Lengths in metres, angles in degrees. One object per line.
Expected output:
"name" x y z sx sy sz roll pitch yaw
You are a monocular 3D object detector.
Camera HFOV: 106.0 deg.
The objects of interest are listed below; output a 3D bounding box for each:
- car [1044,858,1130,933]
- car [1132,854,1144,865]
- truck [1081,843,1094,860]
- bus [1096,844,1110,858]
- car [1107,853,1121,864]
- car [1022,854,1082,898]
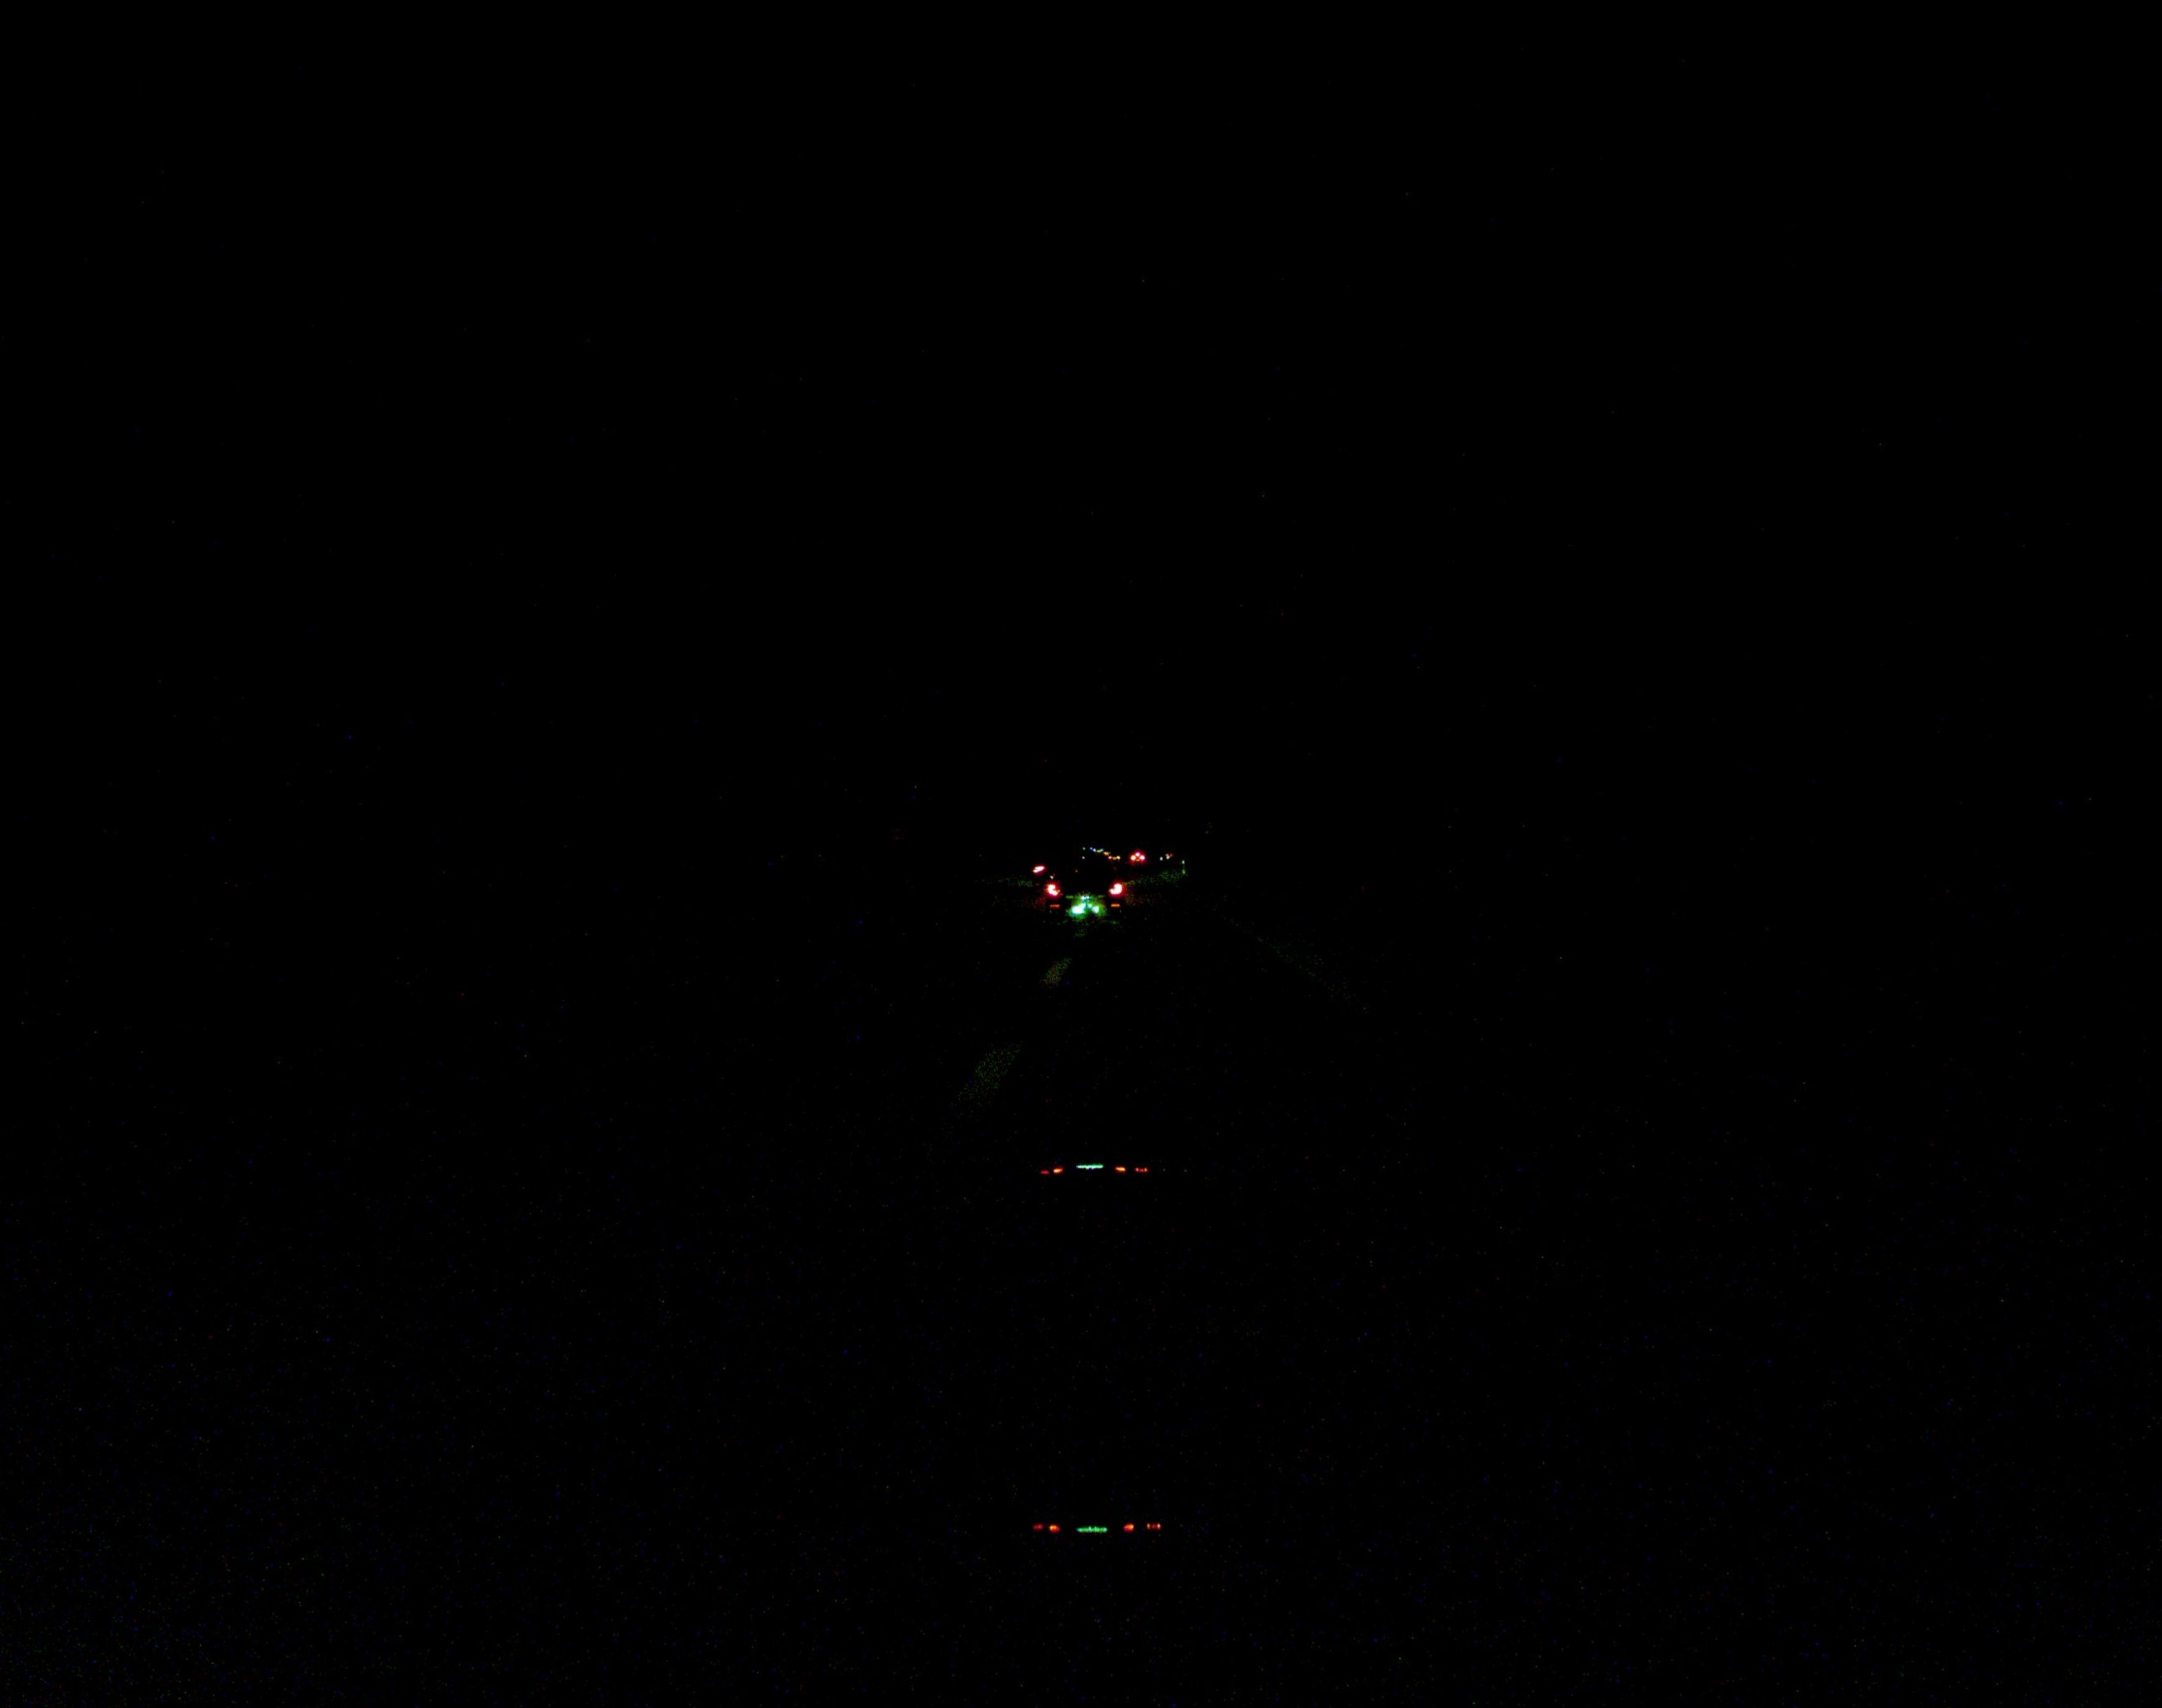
"car" 0.100 0.832 18.129 1.686 1.478 3.998 0 0 -1
"car" 9.046 0.855 128.830 1.727 1.618 3.800 -1 0 2
"truck" 1.759 -0.642 211.922 2.663 4.177 5.877 -1 0 5
"bus" 5.612 -0.760 206.331 2.910 3.387 12.324 -1 0 5
"car" 5.255 0.723 129.460 1.943 1.538 4.244 -5 -2 3
"car" -1.082 0.804 32.601 1.932 1.608 4.648 0 0 3
